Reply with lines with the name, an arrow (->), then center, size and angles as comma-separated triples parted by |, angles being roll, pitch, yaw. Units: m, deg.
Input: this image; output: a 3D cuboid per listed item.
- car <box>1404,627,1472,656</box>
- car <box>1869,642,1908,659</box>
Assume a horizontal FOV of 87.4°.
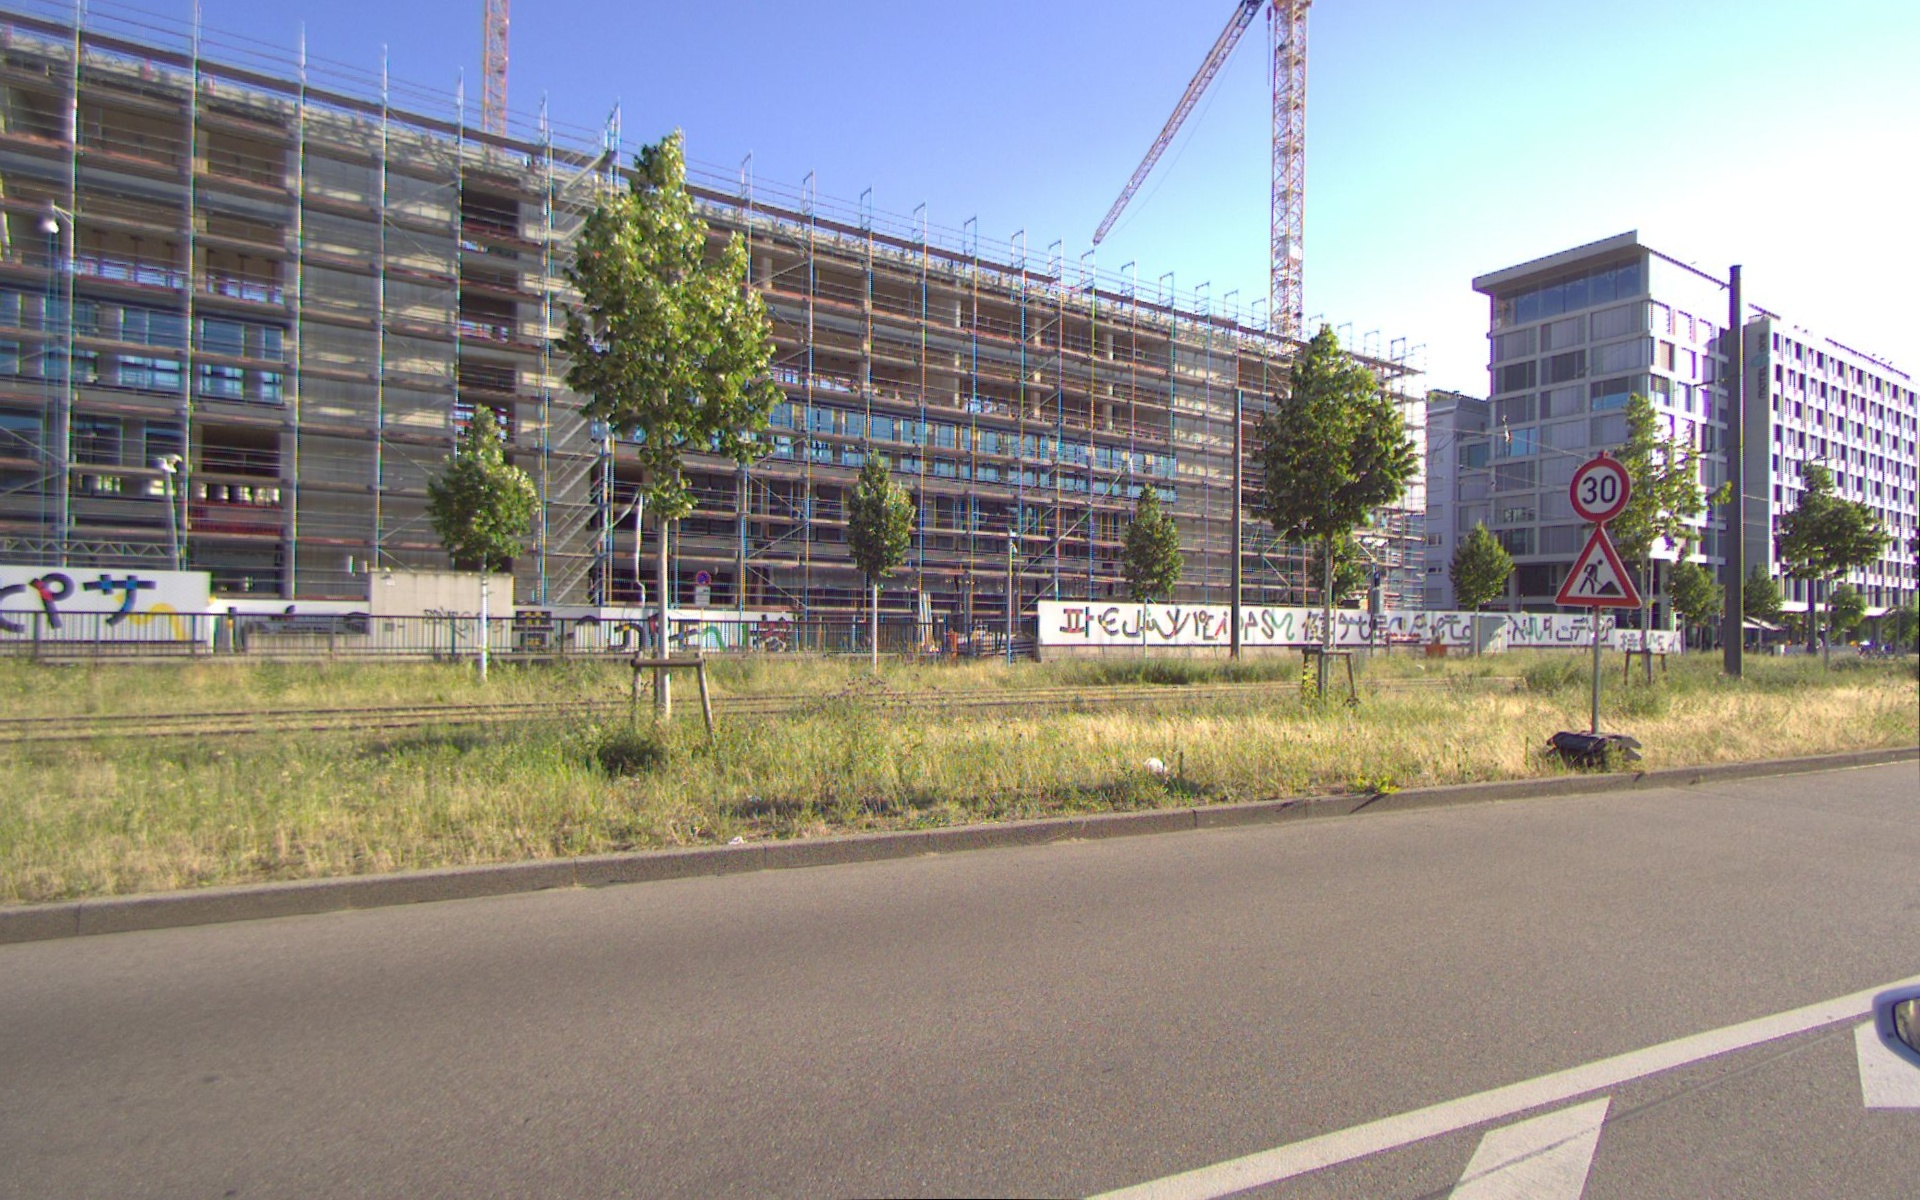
car -> 25.835, 2.262, 54.263 | 3.543, 1.461, 1.699 | 2, 0, -32
car -> 84.042, 4.589, 90.889 | 3.543, 1.461, 1.699 | 2, 0, -32
